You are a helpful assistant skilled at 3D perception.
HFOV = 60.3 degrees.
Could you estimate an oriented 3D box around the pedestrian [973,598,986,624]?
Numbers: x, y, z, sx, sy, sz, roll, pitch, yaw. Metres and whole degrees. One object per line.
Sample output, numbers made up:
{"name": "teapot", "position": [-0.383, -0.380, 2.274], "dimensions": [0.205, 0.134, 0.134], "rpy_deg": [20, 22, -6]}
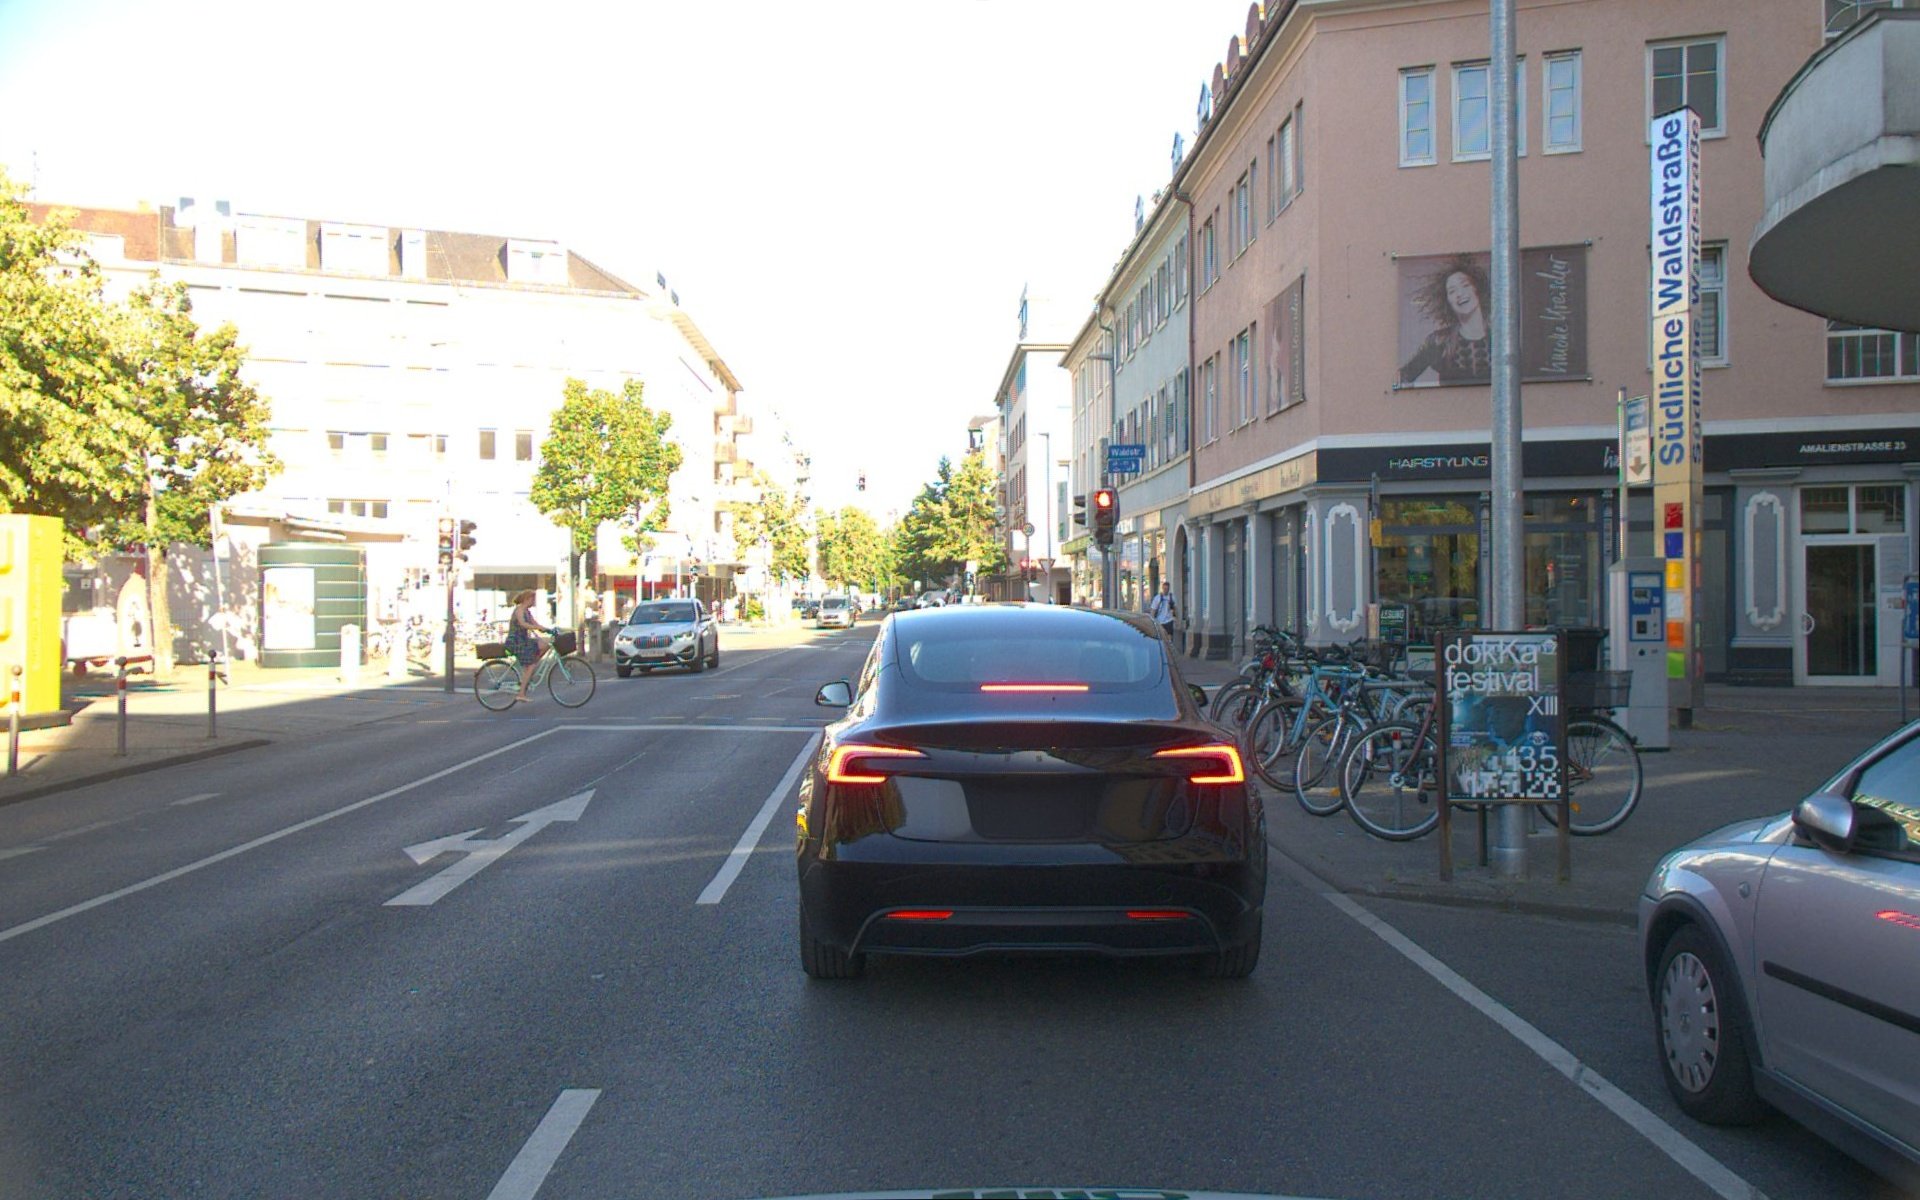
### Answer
{"name": "pedestrian", "position": [1.120, 0.641, 95.054], "dimensions": [0.516, 1.447, 0.474], "rpy_deg": [1, -1, -31]}

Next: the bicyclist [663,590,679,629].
{"name": "bicyclist", "position": [-11.530, 0.370, 65.974], "dimensions": [0.516, 1.530, 0.472], "rpy_deg": [1, -1, -25]}

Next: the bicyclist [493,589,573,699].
{"name": "bicyclist", "position": [-6.077, 0.622, 23.579], "dimensions": [0.872, 1.508, 0.702], "rpy_deg": [-2, -1, 6]}

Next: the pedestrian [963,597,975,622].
{"name": "pedestrian", "position": [0.514, 0.534, 95.858], "dimensions": [0.467, 1.442, 0.516], "rpy_deg": [1, -1, -32]}

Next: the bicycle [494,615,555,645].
{"name": "bicycle", "position": [-14.368, 0.988, 54.599], "dimensions": [1.826, 0.950, 0.606], "rpy_deg": [0, 0, -2]}

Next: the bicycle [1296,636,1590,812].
{"name": "bicycle", "position": [3.245, 0.829, 11.191], "dimensions": [1.834, 1.106, 0.414], "rpy_deg": [-2, -1, 3]}

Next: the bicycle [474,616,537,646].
{"name": "bicycle", "position": [-14.333, 0.978, 52.151], "dimensions": [1.826, 0.950, 0.606], "rpy_deg": [0, 0, -2]}

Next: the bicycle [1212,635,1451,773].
{"name": "bicycle", "position": [3.045, 0.851, 13.673], "dimensions": [1.833, 1.056, 0.548], "rpy_deg": [-2, -1, 5]}

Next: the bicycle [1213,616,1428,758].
{"name": "bicycle", "position": [3.204, 0.768, 14.784], "dimensions": [1.789, 1.189, 0.506], "rpy_deg": [-2, -1, 5]}

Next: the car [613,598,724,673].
{"name": "car", "position": [-6.285, 0.741, 36.038], "dimensions": [1.752, 1.485, 3.756], "rpy_deg": [-2, 0, -1]}

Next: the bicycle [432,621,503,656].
{"name": "bicycle", "position": [-13.996, 1.085, 47.027], "dimensions": [1.826, 0.950, 0.606], "rpy_deg": [1, 0, -2]}

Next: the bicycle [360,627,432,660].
{"name": "bicycle", "position": [-14.447, 1.109, 42.392], "dimensions": [1.612, 0.806, 0.606], "rpy_deg": [1, 0, -5]}

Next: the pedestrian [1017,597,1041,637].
{"name": "pedestrian", "position": [2.897, 0.696, 69.486], "dimensions": [0.742, 1.660, 0.951], "rpy_deg": [1, -1, -18]}

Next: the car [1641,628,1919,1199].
{"name": "car", "position": [2.910, 0.791, 3.500], "dimensions": [1.515, 1.415, 3.476], "rpy_deg": [0, 0, 0]}

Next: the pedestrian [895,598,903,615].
{"name": "pedestrian", "position": [-7.556, 0.797, 205.048], "dimensions": [0.912, 2.049, 0.938], "rpy_deg": [1, -1, -1]}

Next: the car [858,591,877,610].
{"name": "car", "position": [-10.421, 0.043, 186.917], "dimensions": [1.953, 2.049, 3.999], "rpy_deg": [1, 0, -1]}

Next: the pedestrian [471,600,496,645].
{"name": "pedestrian", "position": [-22.190, 1.031, 76.985], "dimensions": [1.041, 2.049, 1.049], "rpy_deg": [1, -1, -20]}

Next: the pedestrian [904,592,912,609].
{"name": "pedestrian", "position": [-6.474, 0.107, 204.846], "dimensions": [0.912, 2.049, 0.938], "rpy_deg": [1, -1, -1]}

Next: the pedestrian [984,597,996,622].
{"name": "pedestrian", "position": [1.744, 0.526, 95.781], "dimensions": [0.516, 1.447, 0.474], "rpy_deg": [1, -1, -31]}

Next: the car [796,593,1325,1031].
{"name": "car", "position": [0.315, 0.723, 7.579], "dimensions": [1.785, 1.467, 3.999], "rpy_deg": [0, 0, -1]}

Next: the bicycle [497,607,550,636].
{"name": "bicycle", "position": [-20.428, 1.018, 77.422], "dimensions": [2.334, 1.318, 0.509], "rpy_deg": [1, -1, -27]}

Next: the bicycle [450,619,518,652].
{"name": "bicycle", "position": [-14.233, 1.061, 49.497], "dimensions": [1.826, 0.950, 0.606], "rpy_deg": [1, 0, -2]}

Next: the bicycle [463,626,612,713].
{"name": "bicycle", "position": [-6.003, 0.985, 23.565], "dimensions": [1.893, 1.137, 0.709], "rpy_deg": [-2, -1, 6]}

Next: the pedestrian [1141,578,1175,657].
{"name": "pedestrian", "position": [4.575, 0.394, 38.202], "dimensions": [0.735, 1.796, 0.837], "rpy_deg": [0, -1, 3]}

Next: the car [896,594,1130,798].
{"name": "car", "position": [0.314, 0.687, 13.822], "dimensions": [1.683, 1.450, 3.755], "rpy_deg": [0, 0, -2]}

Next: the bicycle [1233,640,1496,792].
{"name": "bicycle", "position": [3.028, 0.865, 12.487], "dimensions": [1.834, 1.056, 0.533], "rpy_deg": [-2, -1, 3]}

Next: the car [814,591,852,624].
{"name": "car", "position": [-6.802, 0.411, 89.172], "dimensions": [1.751, 1.675, 4.401], "rpy_deg": [1, 0, -1]}

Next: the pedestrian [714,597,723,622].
{"name": "pedestrian", "position": [-14.142, 0.557, 96.812], "dimensions": [0.451, 1.486, 0.517], "rpy_deg": [0, 0, -6]}

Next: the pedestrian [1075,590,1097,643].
{"name": "pedestrian", "position": [4.272, 0.545, 55.899], "dimensions": [0.692, 1.773, 0.540], "rpy_deg": [0, 0, -1]}

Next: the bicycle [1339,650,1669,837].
{"name": "bicycle", "position": [3.268, 0.866, 10.013], "dimensions": [1.833, 1.056, 0.353], "rpy_deg": [-2, -1, 6]}

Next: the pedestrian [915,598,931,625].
{"name": "pedestrian", "position": [-2.364, 0.735, 104.684], "dimensions": [0.708, 1.725, 0.843], "rpy_deg": [0, 0, -28]}

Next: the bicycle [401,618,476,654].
{"name": "bicycle", "position": [-14.179, 0.975, 44.978], "dimensions": [1.826, 0.950, 0.606], "rpy_deg": [0, 0, -2]}
